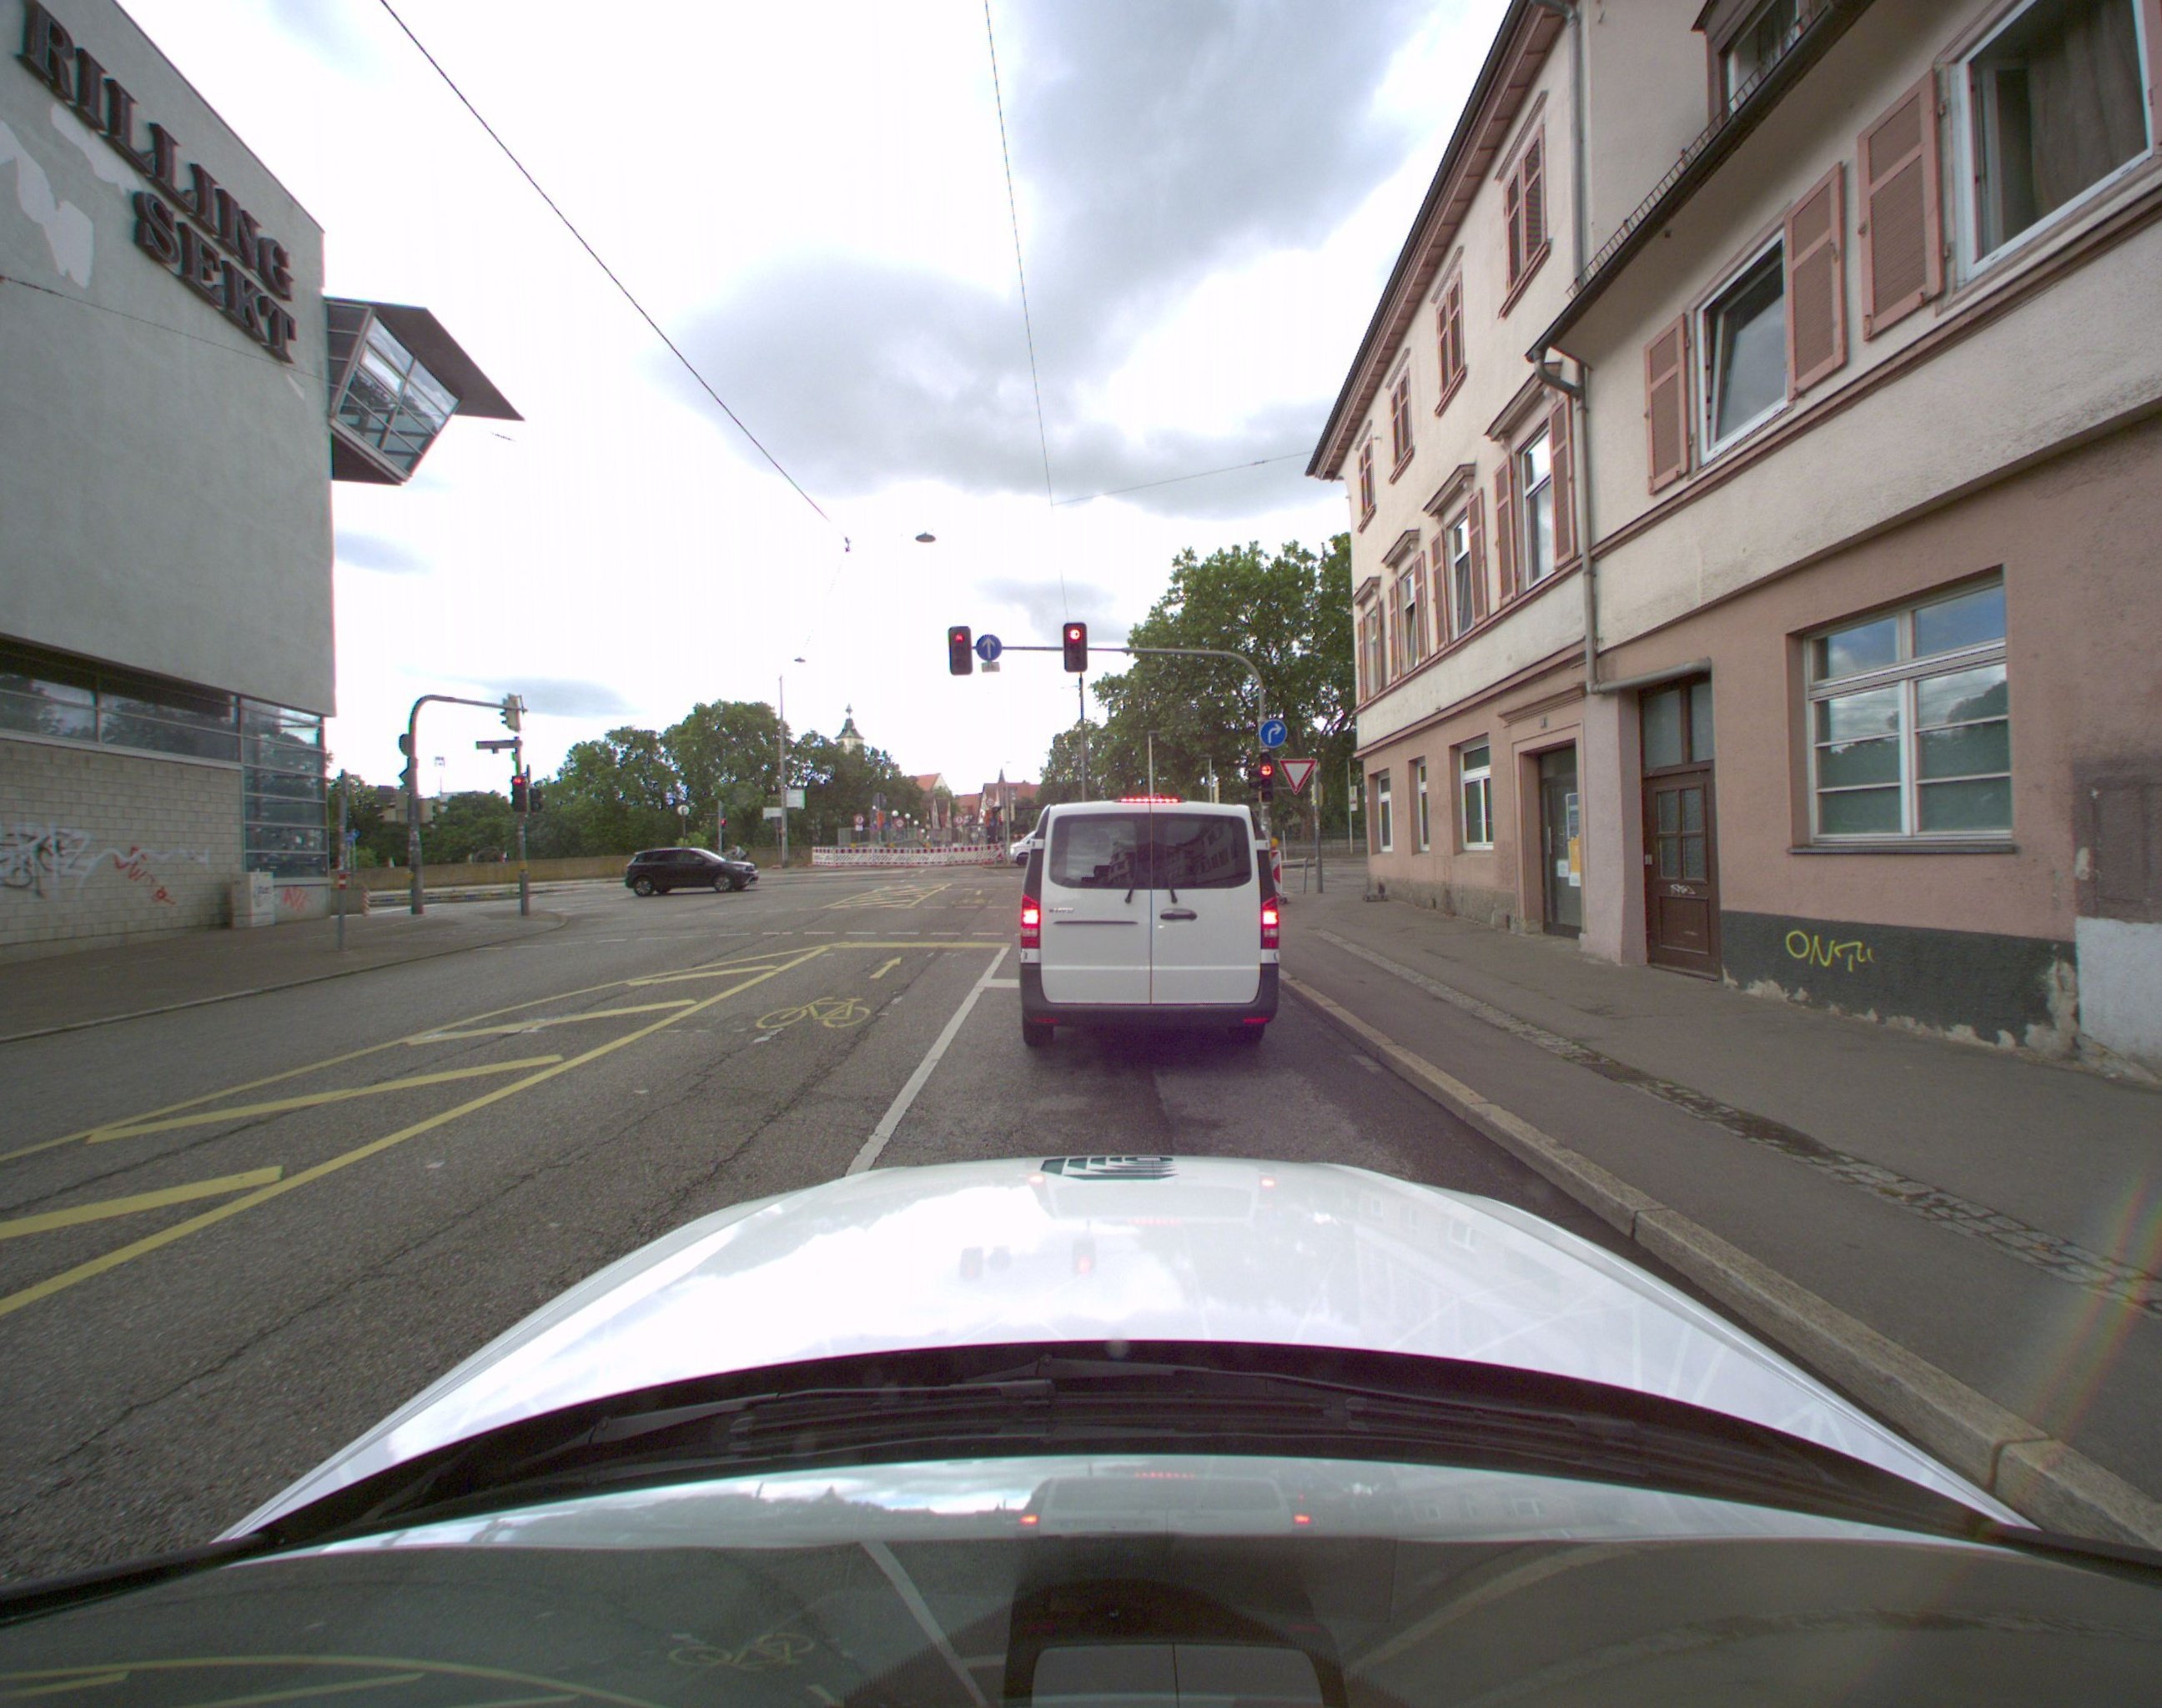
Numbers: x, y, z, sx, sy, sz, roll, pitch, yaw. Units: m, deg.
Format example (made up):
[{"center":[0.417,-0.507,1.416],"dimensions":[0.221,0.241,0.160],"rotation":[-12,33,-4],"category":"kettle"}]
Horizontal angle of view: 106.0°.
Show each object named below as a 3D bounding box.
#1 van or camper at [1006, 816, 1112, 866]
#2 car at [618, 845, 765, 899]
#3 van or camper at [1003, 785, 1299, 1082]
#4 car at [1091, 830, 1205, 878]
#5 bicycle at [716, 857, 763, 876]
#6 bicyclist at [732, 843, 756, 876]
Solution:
[{"center":[-1.208,-0.672,43.386],"dimensions":[5.389,2.514,2.030],"rotation":[-1,-1,-9],"category":"van or camper"},{"center":[-13.172,0.572,27.753],"dimensions":[4.067,1.573,1.824],"rotation":[-3,2,-8],"category":"car"},{"center":[0.425,0.448,7.539],"dimensions":[1.932,1.924,4.439],"rotation":[0,2,-1],"category":"van or camper"},{"center":[2.295,-0.016,28.049],"dimensions":[3.728,1.428,1.830],"rotation":[-2,2,3],"category":"car"},{"center":[-18.211,0.645,43.481],"dimensions":[2.149,0.892,0.751],"rotation":[-3,2,-39],"category":"bicycle"},{"center":[-18.045,0.271,43.610],"dimensions":[1.010,1.743,0.746],"rotation":[-2,1,-38],"category":"bicyclist"}]
